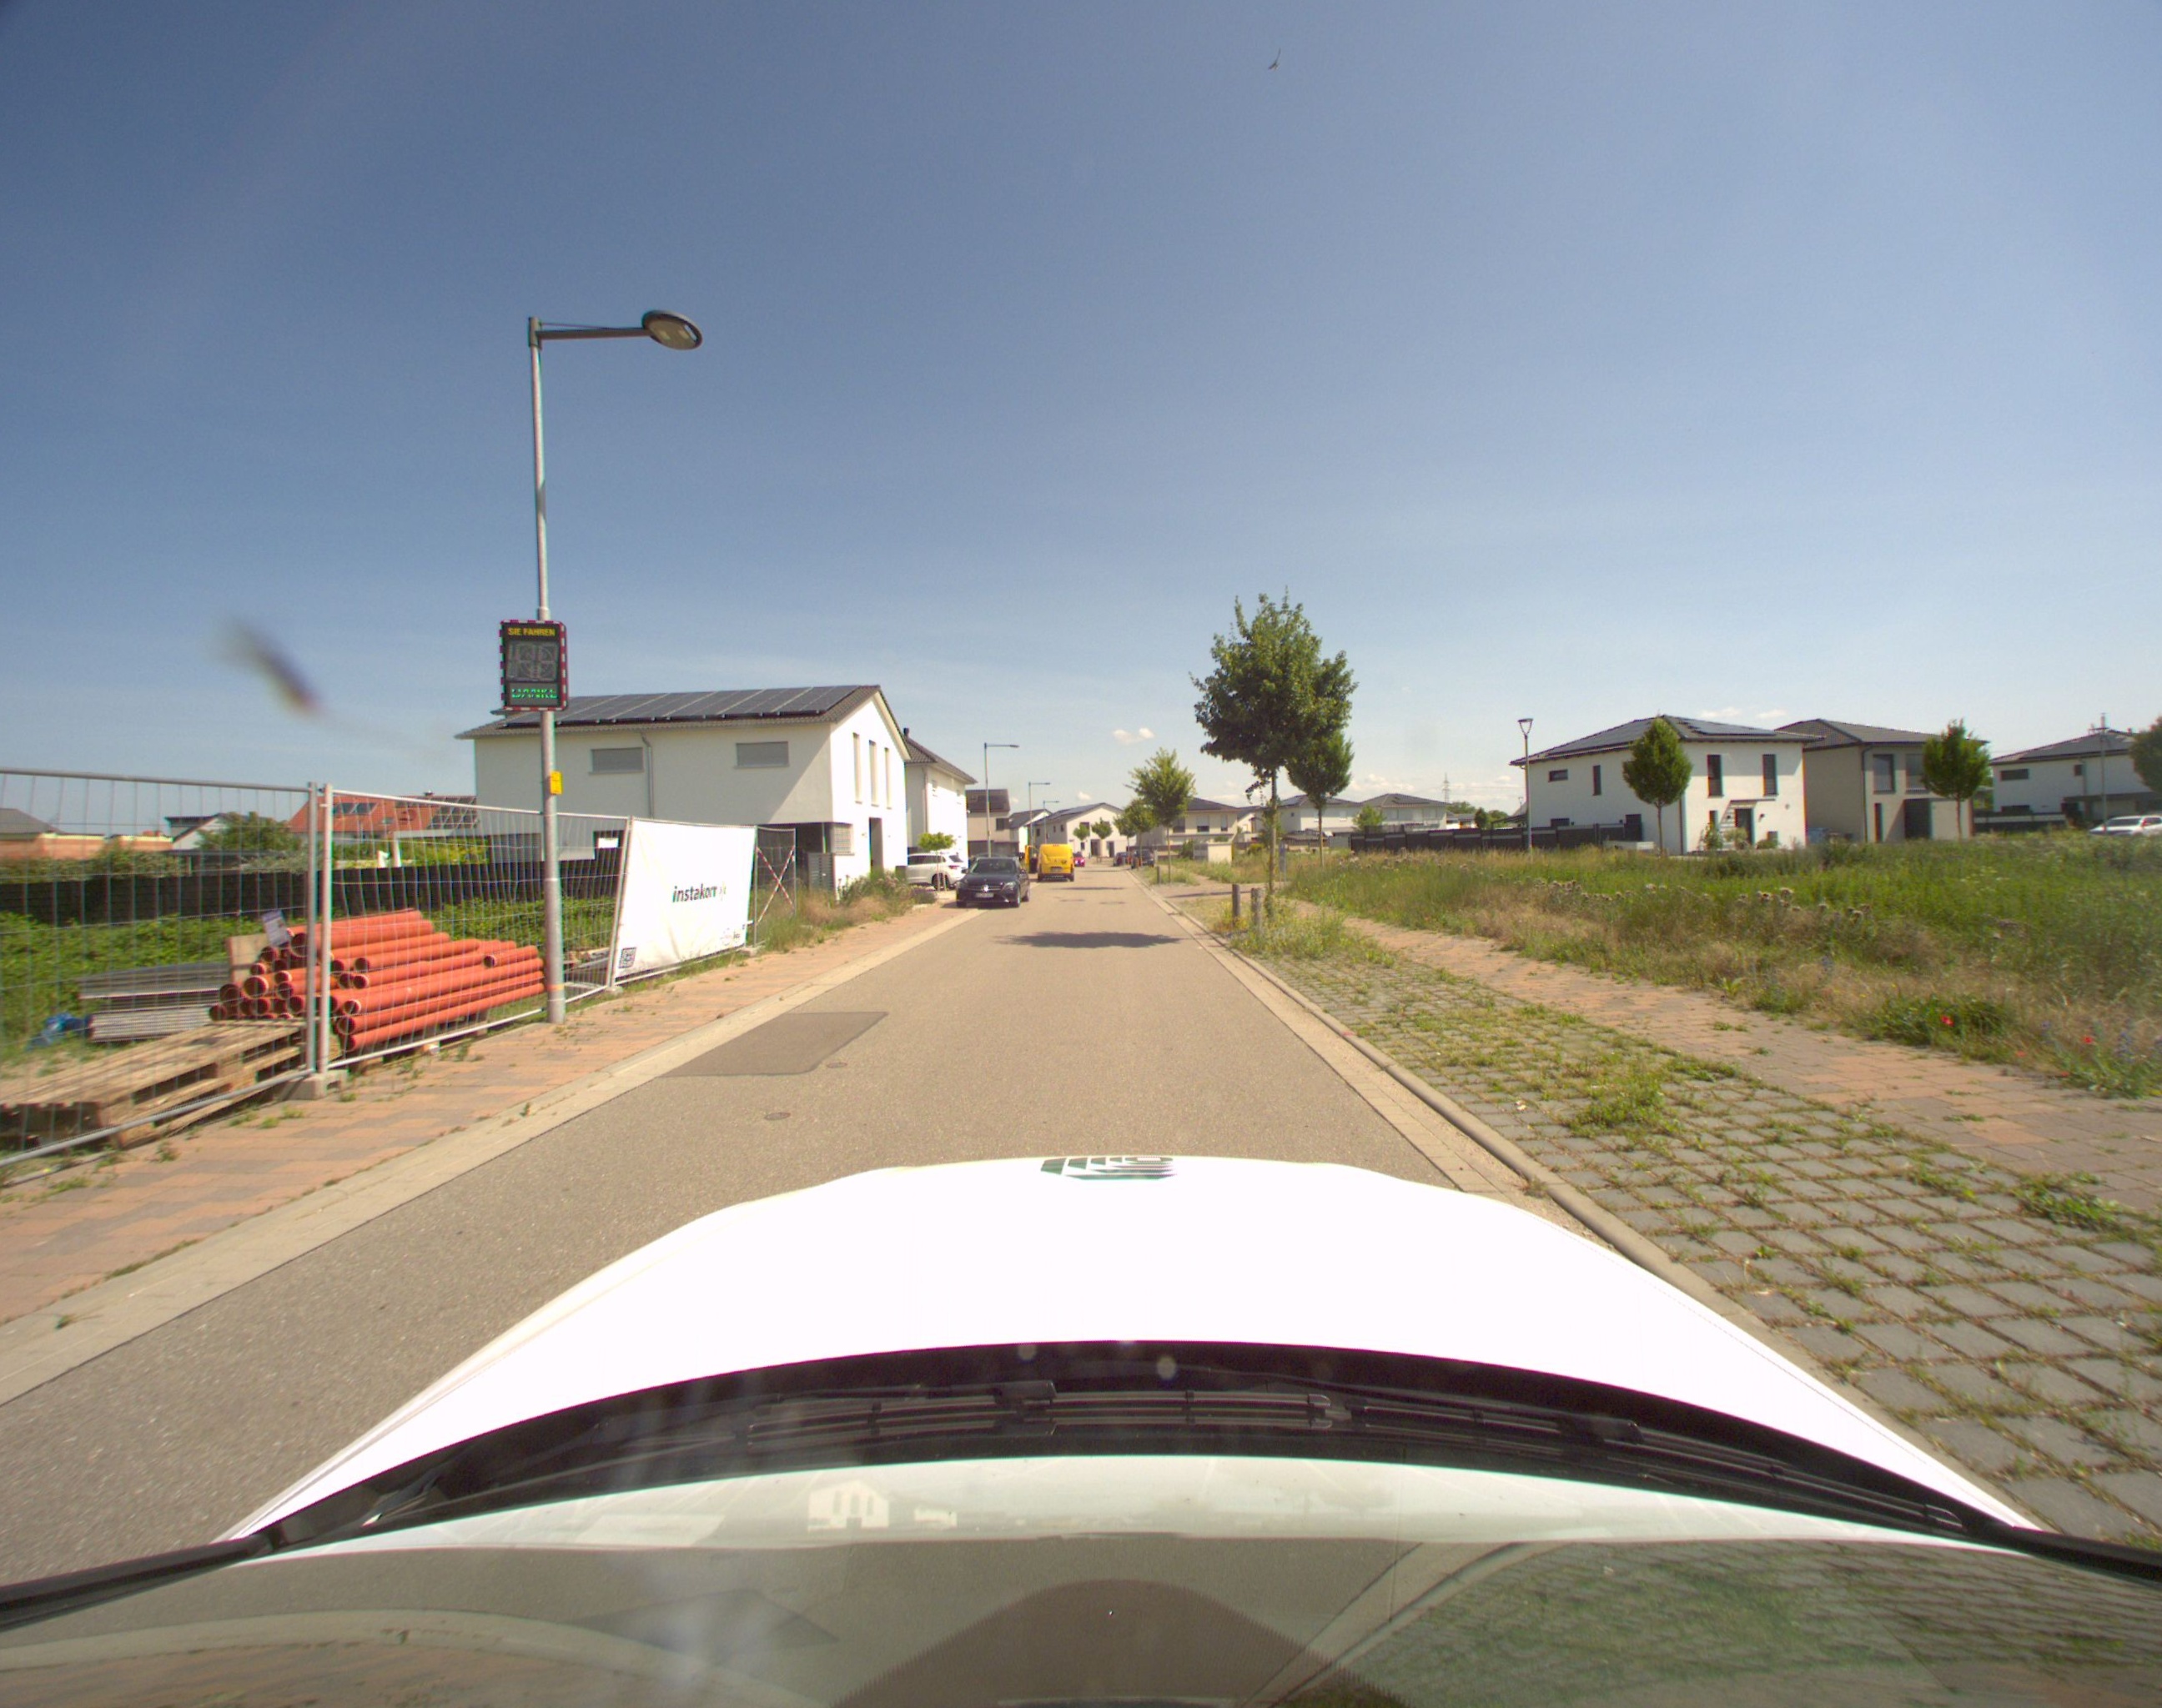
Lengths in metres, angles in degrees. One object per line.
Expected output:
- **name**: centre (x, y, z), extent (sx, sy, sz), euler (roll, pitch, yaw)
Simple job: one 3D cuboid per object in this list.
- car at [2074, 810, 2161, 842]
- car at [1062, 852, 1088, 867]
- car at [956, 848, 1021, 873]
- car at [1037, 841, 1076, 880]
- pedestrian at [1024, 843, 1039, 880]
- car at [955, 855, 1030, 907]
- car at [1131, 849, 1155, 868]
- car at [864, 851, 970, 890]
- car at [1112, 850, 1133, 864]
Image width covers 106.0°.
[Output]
- **car**: centre (50.724, -1.378, 39.412), extent (3.991, 1.398, 1.743), euler (-2, -1, -13)
- **car**: centre (-0.700, 0.633, 84.202), extent (1.993, 1.431, 4.686), euler (-2, -1, -9)
- **car**: centre (-6.340, 0.450, 55.441), extent (4.167, 1.505, 1.806), euler (2, -1, -15)
- **car**: centre (-1.354, 0.379, 44.613), extent (1.936, 1.981, 4.213), euler (-2, -1, -2)
- **pedestrian**: centre (-2.779, 0.423, 45.775), extent (0.649, 2.014, 1.124), euler (-2, -1, 1)
- **car**: centre (-2.585, 0.752, 24.693), extent (1.739, 1.405, 4.161), euler (0, 0, 1)
- **car**: centre (4.887, 0.378, 64.580), extent (1.633, 1.403, 3.810), euler (-2, -1, 1)
- **car**: centre (-7.023, 0.696, 35.067), extent (4.047, 1.581, 1.788), euler (-1, 1, 7)
- **car**: centre (4.240, 0.338, 83.218), extent (1.625, 1.322, 3.826), euler (-2, -2, -5)
